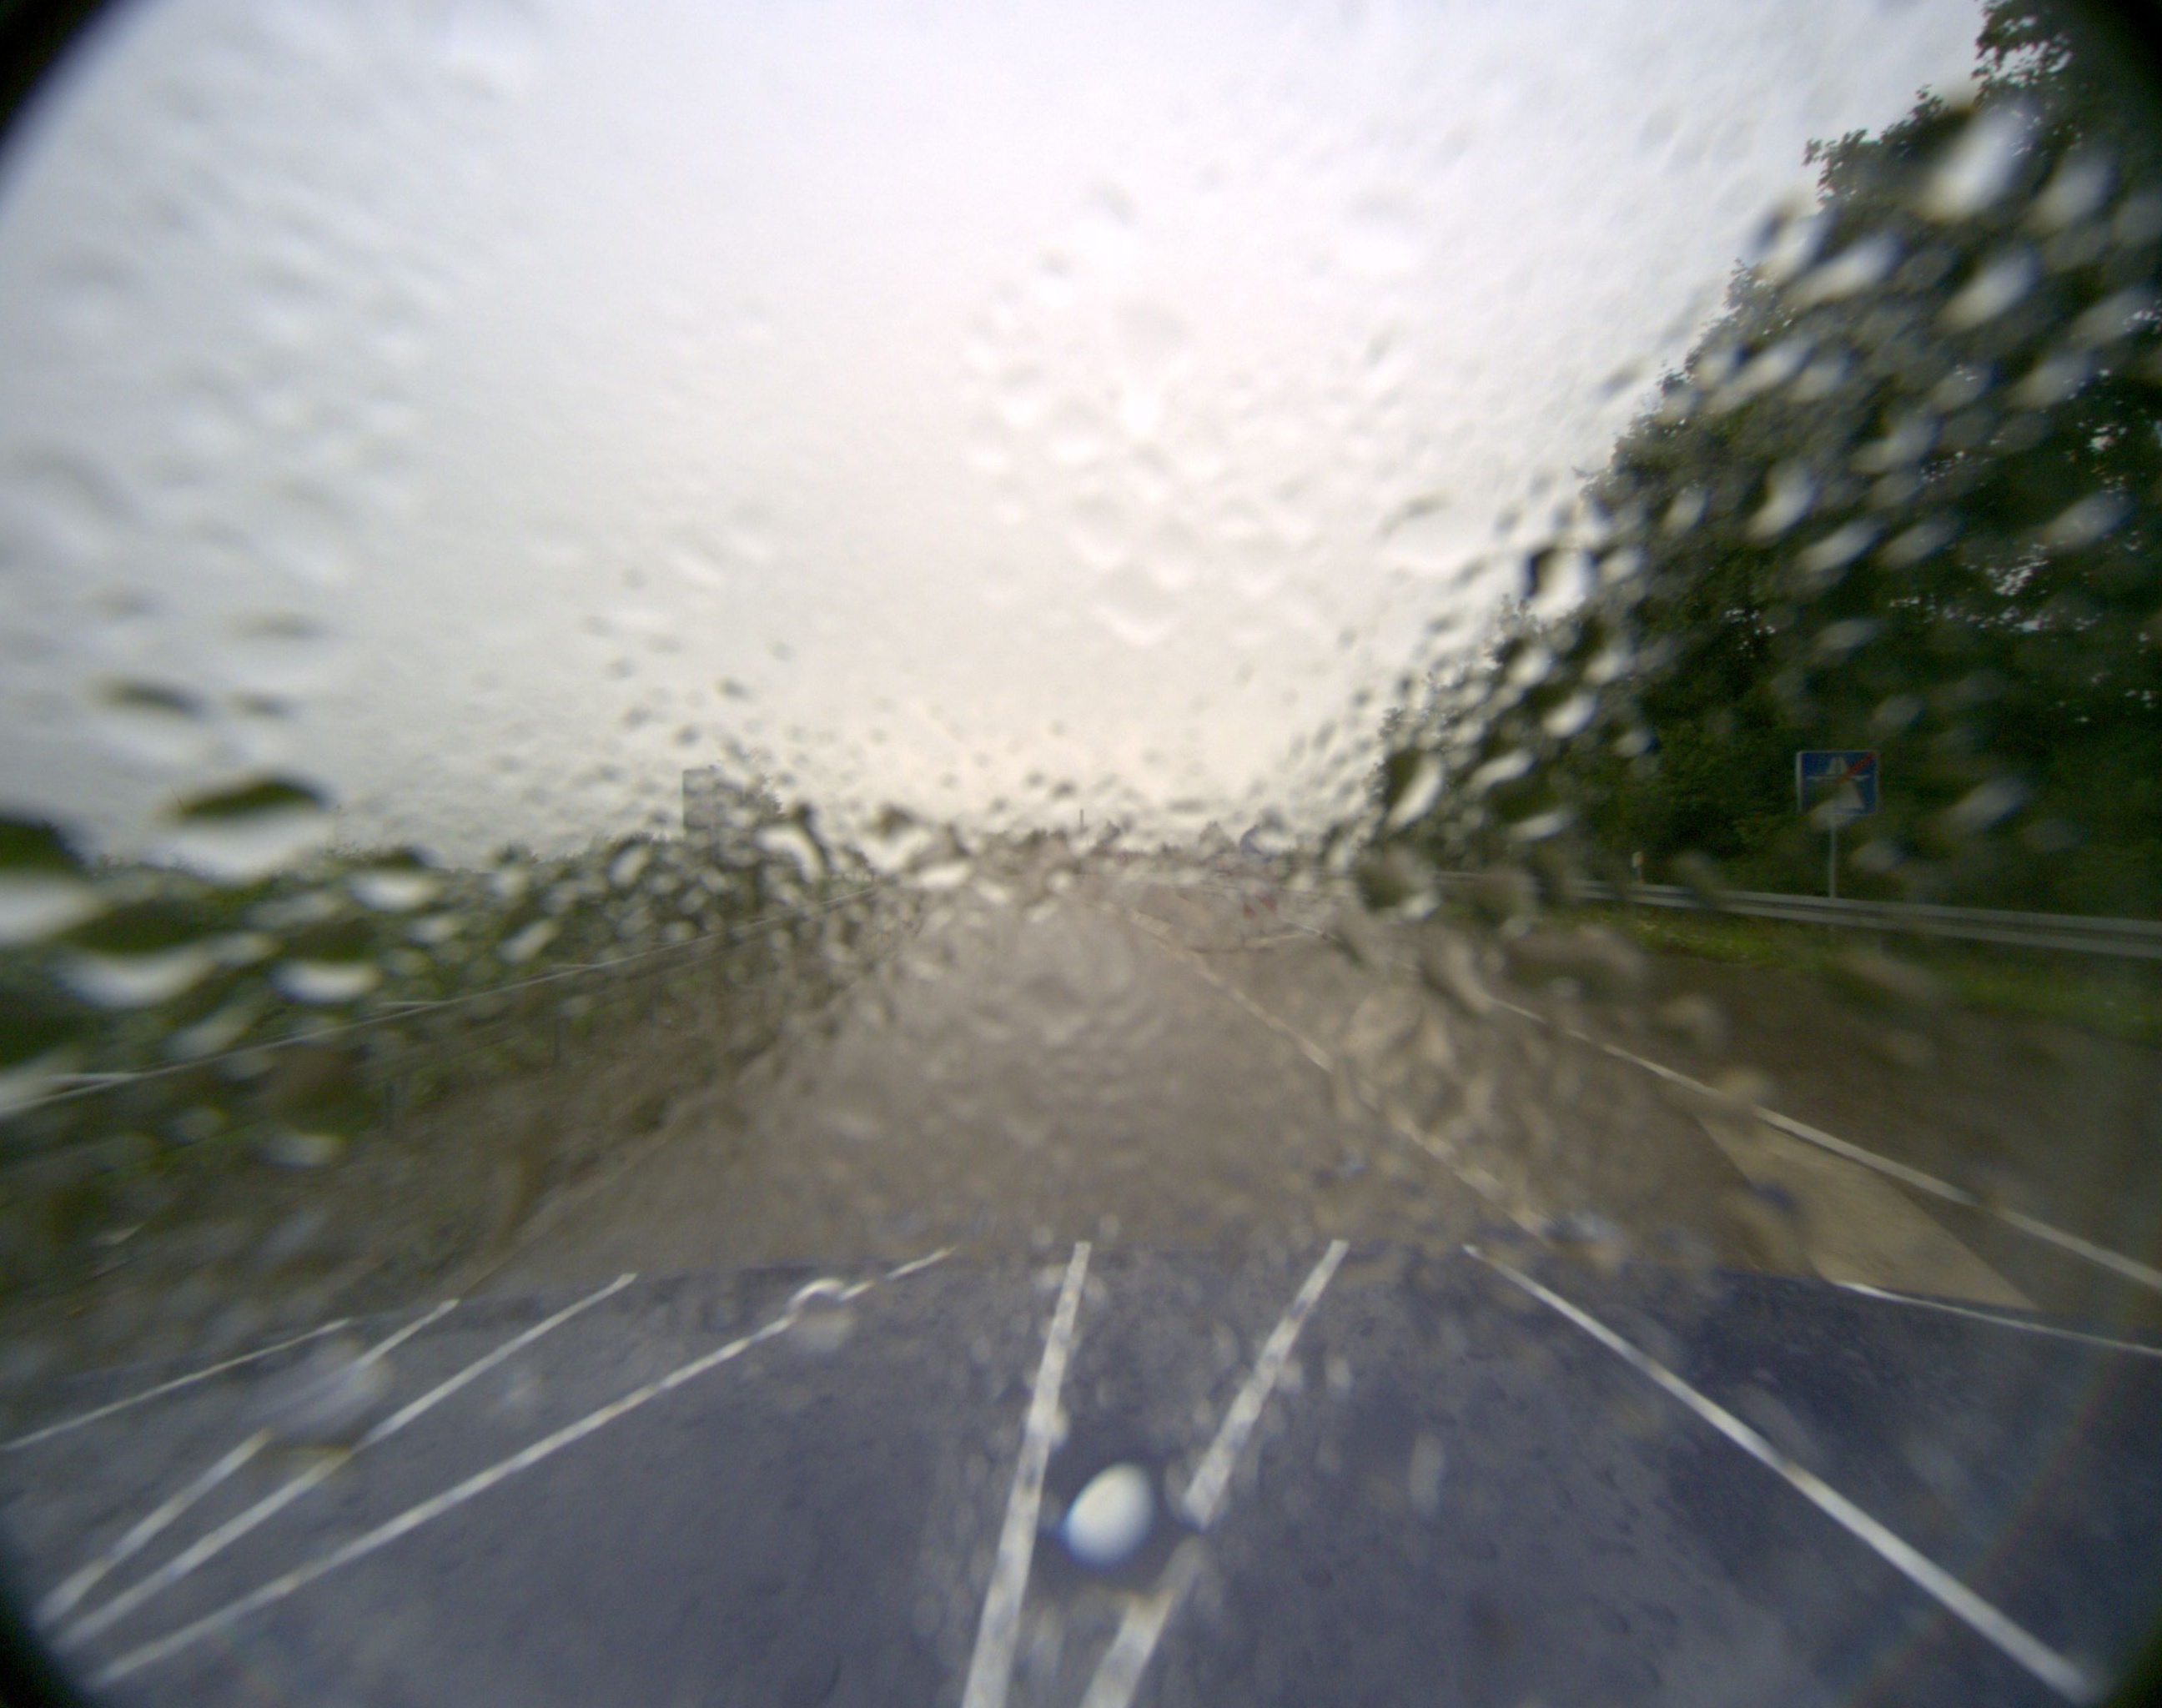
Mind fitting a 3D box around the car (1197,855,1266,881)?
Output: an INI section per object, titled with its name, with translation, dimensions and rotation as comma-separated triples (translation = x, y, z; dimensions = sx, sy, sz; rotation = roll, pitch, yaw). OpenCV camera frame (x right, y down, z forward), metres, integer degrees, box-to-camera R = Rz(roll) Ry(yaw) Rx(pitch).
[car]
translation = 9.917, 0.876, 49.983
dimensions = 4.572, 1.362, 1.905
rotation = -4, 3, -38
